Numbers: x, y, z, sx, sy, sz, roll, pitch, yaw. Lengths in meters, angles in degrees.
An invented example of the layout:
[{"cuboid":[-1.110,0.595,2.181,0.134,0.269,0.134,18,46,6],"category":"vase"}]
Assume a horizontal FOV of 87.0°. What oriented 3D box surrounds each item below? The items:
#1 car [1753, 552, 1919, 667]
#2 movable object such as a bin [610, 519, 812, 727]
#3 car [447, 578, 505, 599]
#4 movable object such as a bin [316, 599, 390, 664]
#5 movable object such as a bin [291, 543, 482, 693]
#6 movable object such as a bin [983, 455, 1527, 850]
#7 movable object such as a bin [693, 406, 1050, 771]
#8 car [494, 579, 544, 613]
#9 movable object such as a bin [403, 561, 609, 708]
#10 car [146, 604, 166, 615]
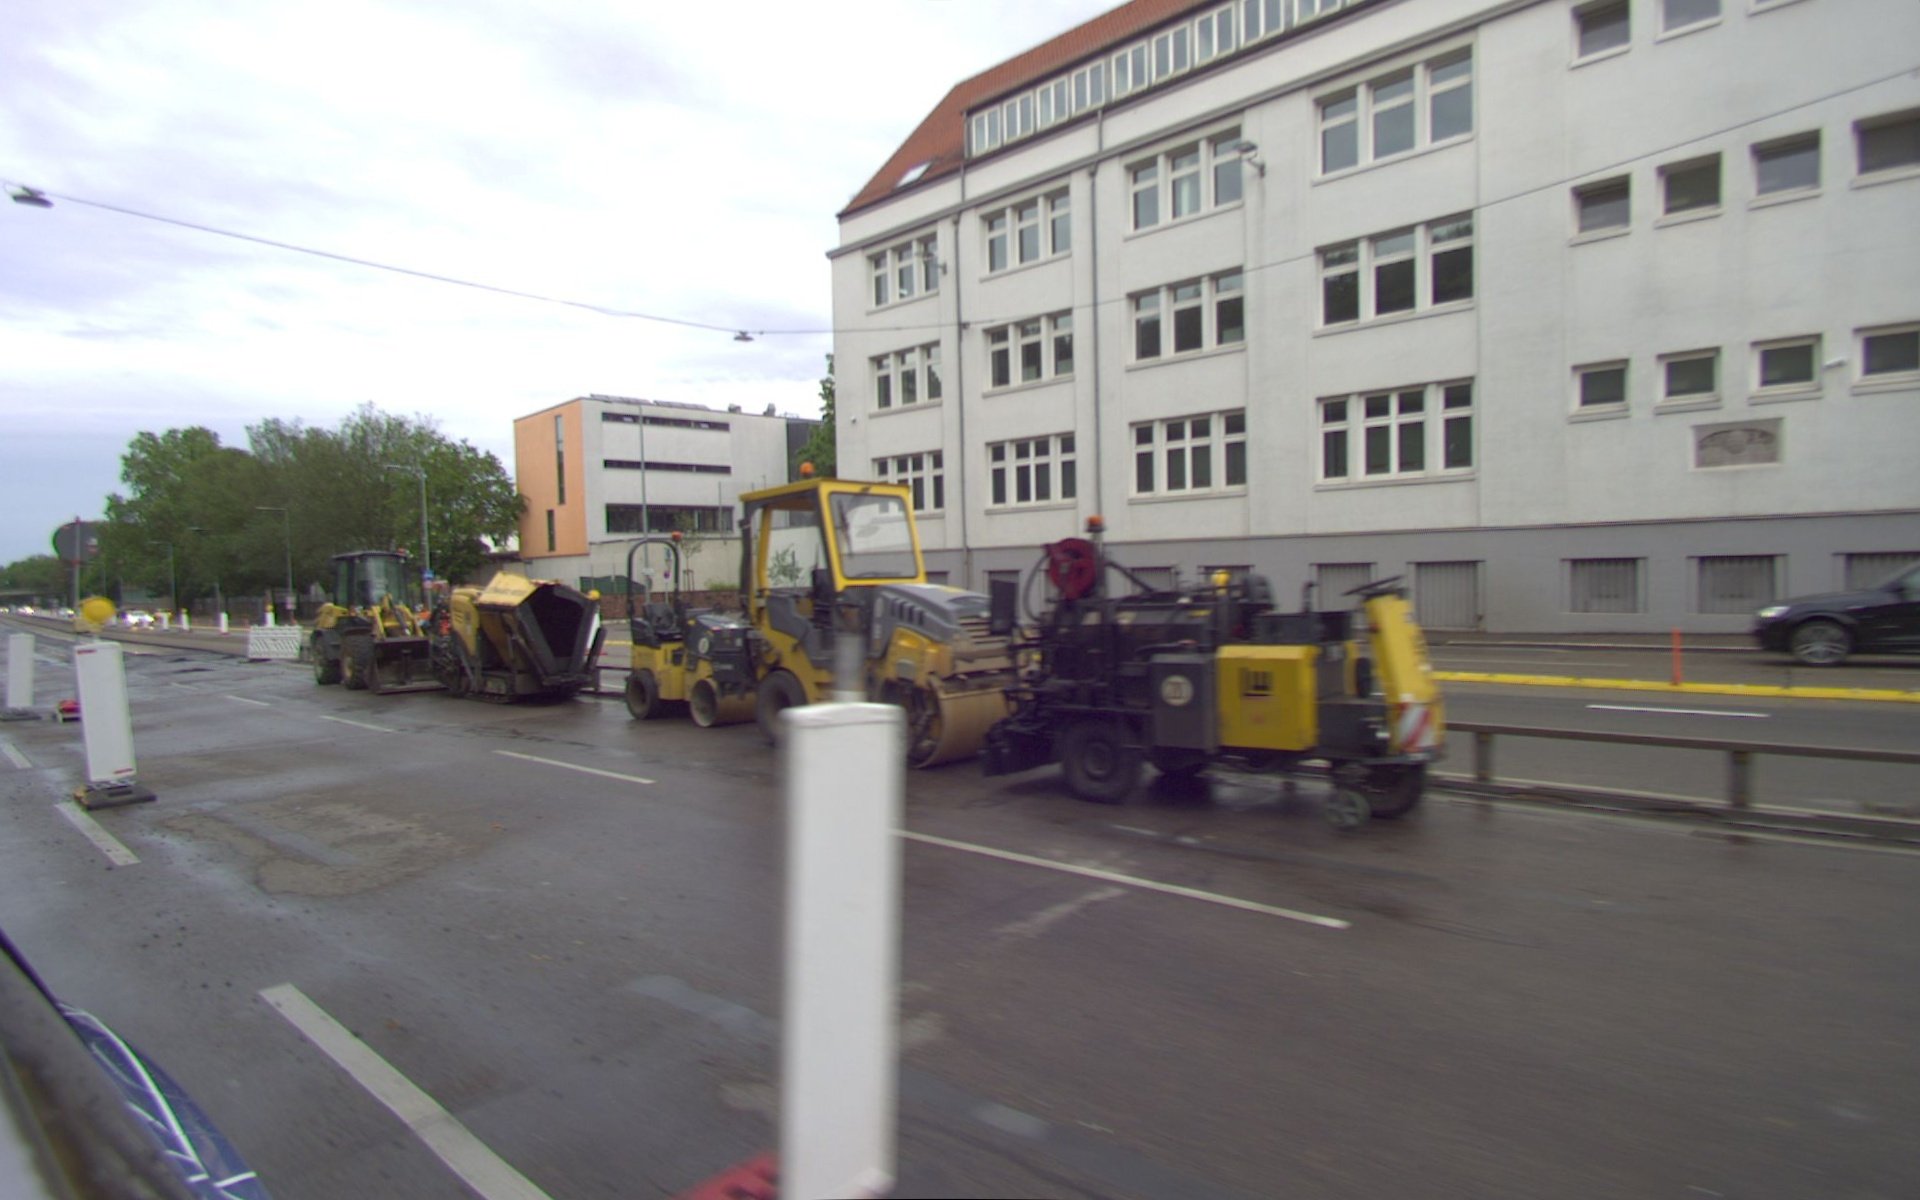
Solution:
[{"cuboid":[14.134,0.094,14.253,4.556,1.555,1.815,-1,2,42],"category":"car"},{"cuboid":[-3.252,0.280,13.103,2.405,2.419,1.396,-1,0,42],"category":"movable object such as a bin"},{"cuboid":[-40.756,-0.986,85.344,3.960,1.539,2.003,-2,2,-7],"category":"car"},{"cuboid":[-16.683,0.826,27.784,2.439,1.656,1.071,-1,2,44],"category":"movable object such as a bin"},{"cuboid":[-11.659,0.313,20.378,5.385,2.628,1.881,-1,1,45],"category":"movable object such as a bin"},{"cuboid":[2.002,0.299,7.301,3.348,2.166,1.697,-1,0,41],"category":"movable object such as a bin"},{"cuboid":[-1.026,-0.079,10.216,3.724,3.031,1.449,-1,0,43],"category":"movable object such as a bin"},{"cuboid":[-29.443,-0.251,67.474,4.001,2.186,1.592,-1,2,44],"category":"car"},{"cuboid":[-7.679,0.502,16.827,5.032,2.105,1.347,-1,1,45],"category":"movable object such as a bin"},{"cuboid":[-101.624,1.169,127.889,3.806,1.378,1.536,-1,1,44],"category":"car"}]
